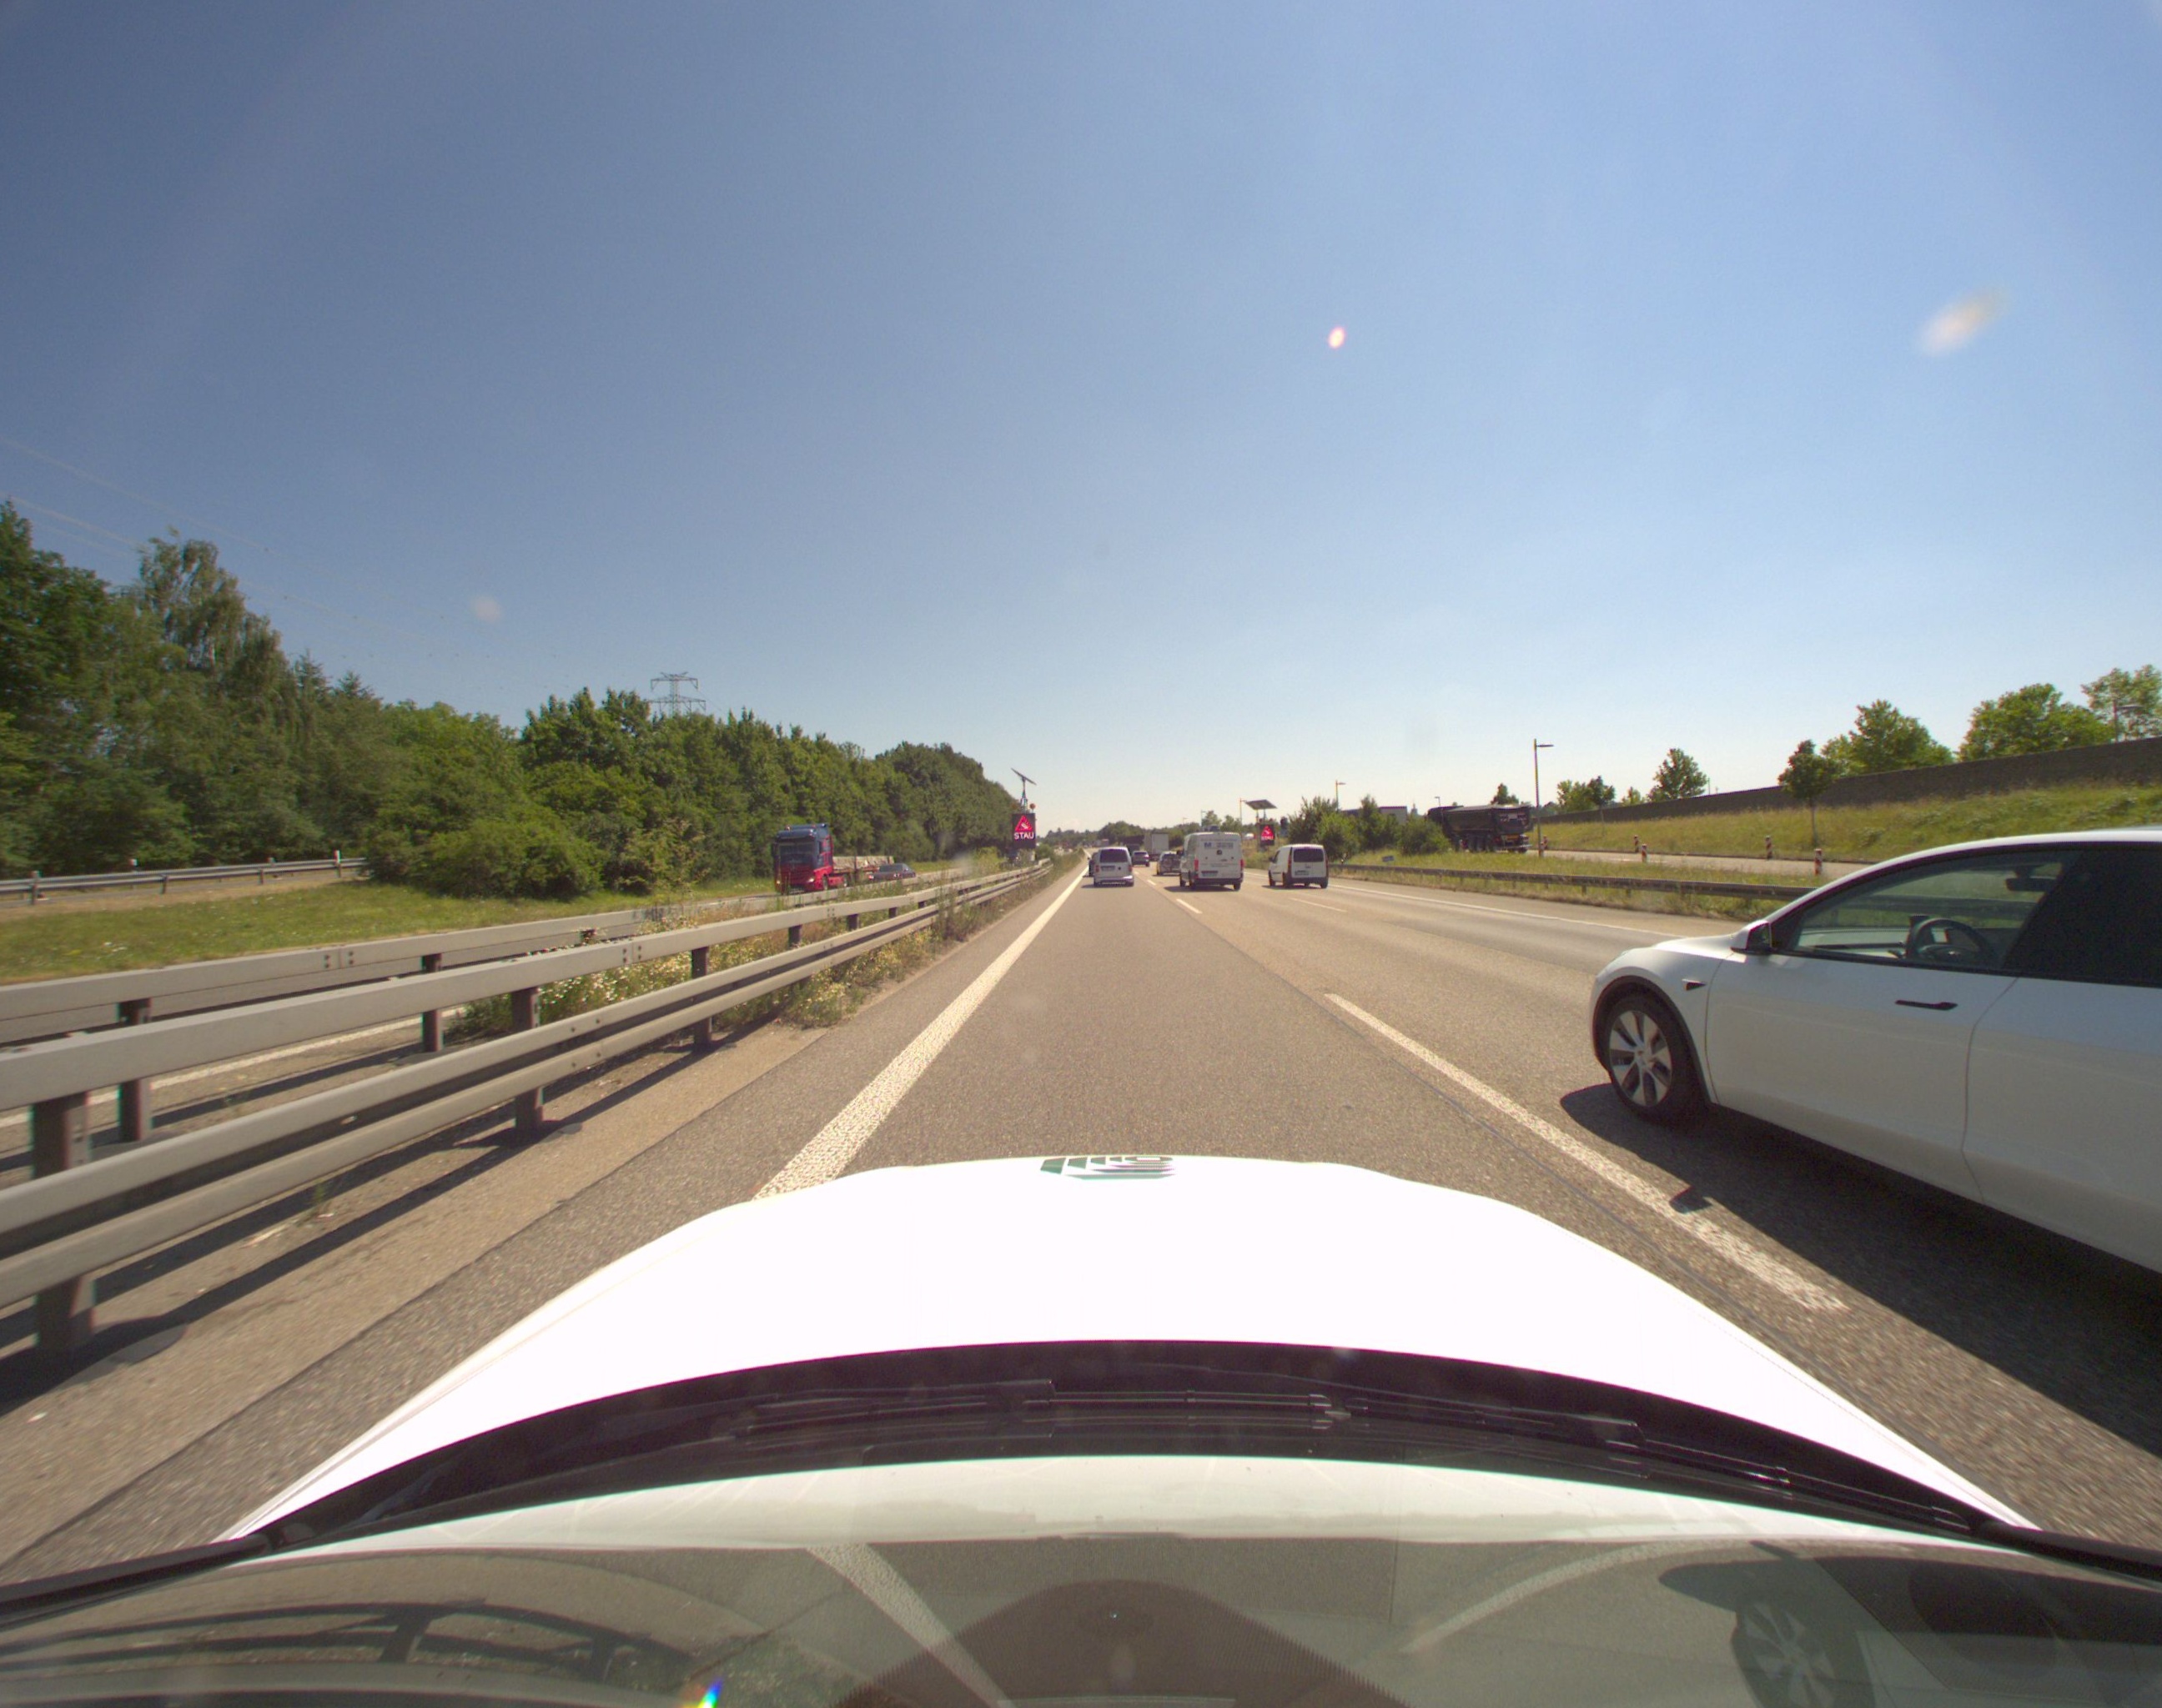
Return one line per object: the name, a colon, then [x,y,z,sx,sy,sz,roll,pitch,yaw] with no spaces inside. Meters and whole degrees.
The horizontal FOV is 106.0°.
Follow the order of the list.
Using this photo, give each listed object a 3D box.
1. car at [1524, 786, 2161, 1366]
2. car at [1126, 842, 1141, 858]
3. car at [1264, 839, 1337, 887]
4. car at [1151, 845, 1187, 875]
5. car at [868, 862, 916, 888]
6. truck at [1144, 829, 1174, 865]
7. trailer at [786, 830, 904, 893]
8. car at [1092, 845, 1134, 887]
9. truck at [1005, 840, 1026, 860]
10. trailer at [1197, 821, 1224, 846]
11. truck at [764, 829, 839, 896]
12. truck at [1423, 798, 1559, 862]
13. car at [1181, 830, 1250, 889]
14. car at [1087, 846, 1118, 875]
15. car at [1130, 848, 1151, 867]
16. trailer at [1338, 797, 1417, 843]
car: [4.032,0.619,2.942,1.943,1.636,5.602,0,0,1]
car: [6.248,-0.451,97.908,1.668,1.891,4.091,-2,0,2]
car: [9.155,0.364,34.301,1.944,1.838,4.178,-2,0,0]
car: [5.555,0.379,52.019,1.968,1.733,4.091,-2,0,2]
car: [-11.257,1.217,48.863,1.764,1.334,4.919,-3,0,-1]
truck: [11.364,-0.920,119.507,3.773,4.999,12.526,0,0,2]
trailer: [-15.499,0.447,55.492,2.985,3.558,16.027,-2,0,1]
car: [1.486,0.511,37.346,1.738,1.764,4.091,-2,0,2]
truck: [-13.502,-0.765,168.491,2.985,3.802,10.792,-2,0,1]
trailer: [24.987,-3.842,158.092,2.596,4.258,18.423,0,0,1]
truck: [-15.715,0.457,45.928,2.985,3.558,3.119,-2,0,1]
truck: [28.891,-1.513,58.396,3.774,4.083,12.523,0,0,2]
car: [5.449,0.208,33.726,2.173,2.254,5.366,-1,0,2]
car: [1.378,0.401,50.919,1.738,1.701,4.091,-2,0,3]
car: [5.781,0.337,80.039,1.894,1.672,4.091,-2,0,2]
trailer: [29.757,-3.263,82.595,3.041,4.083,14.260,0,0,1]
